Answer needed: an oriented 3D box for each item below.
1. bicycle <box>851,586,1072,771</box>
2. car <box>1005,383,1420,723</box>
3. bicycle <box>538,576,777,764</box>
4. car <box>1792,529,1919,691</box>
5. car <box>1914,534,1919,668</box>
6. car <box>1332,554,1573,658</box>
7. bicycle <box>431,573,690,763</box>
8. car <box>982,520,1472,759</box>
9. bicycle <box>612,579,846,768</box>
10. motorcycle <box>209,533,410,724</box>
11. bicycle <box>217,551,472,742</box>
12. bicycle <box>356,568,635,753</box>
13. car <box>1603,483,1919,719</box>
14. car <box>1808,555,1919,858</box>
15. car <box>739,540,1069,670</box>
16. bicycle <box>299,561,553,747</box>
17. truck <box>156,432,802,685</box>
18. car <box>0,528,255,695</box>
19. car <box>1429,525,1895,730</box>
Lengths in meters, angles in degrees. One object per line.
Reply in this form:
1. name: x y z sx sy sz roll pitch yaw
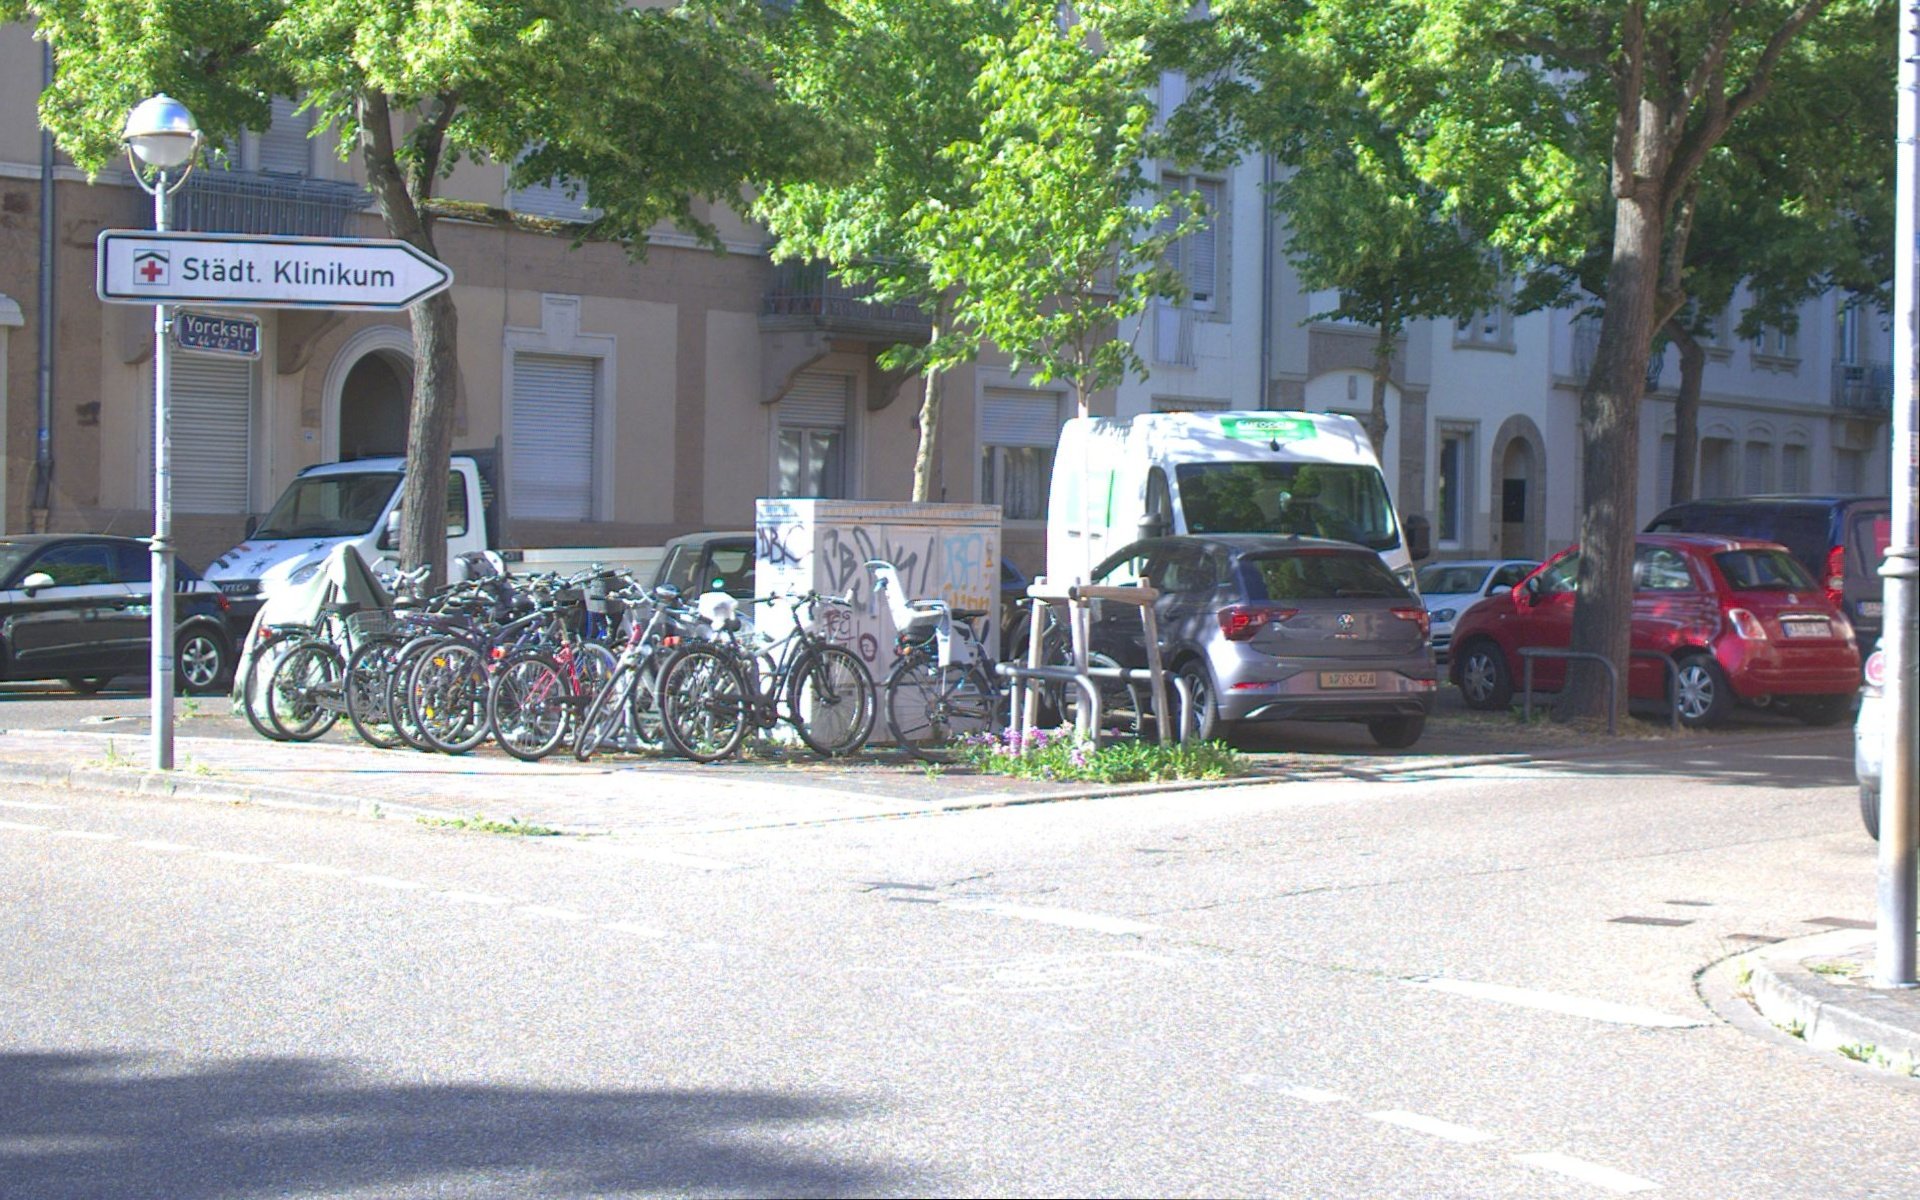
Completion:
1. bicycle: 0.020 0.473 21.434 0.419 1.082 1.523 4 3 43
2. car: 2.020 -0.486 30.010 2.096 2.591 6.379 2 2 -9
3. bicycle: -1.848 0.414 21.184 0.419 1.085 1.570 3 3 43
4. car: 9.703 0.103 33.641 1.682 1.465 3.385 2 2 -12
5. car: 11.432 0.086 35.376 1.682 1.465 3.385 2 2 -12
6. car: 6.896 0.059 47.874 1.686 1.385 3.914 0 1 36
7. bicycle: -2.461 0.402 21.307 0.500 1.098 1.646 3 3 43
8. car: 1.780 0.225 24.216 1.682 1.441 3.923 1 2 -25
9. bicycle: -1.399 0.429 20.980 0.419 1.082 1.523 4 3 43
10. motorcycle: -4.670 0.180 24.620 0.537 1.266 1.710 -1 3 -45
11. bicycle: -4.058 0.288 22.751 0.538 1.188 1.676 3 3 41
12. bicycle: -2.925 0.360 21.771 0.657 1.085 1.725 3 3 41
13. car: 7.193 -0.031 29.591 1.682 1.858 3.385 1 2 -21
14. car: 5.996 0.532 17.794 1.687 1.441 3.538 4 3 40
15. car: -0.582 0.034 38.656 1.686 1.385 3.914 0 1 36
16. bicycle: -3.444 0.329 22.260 0.589 1.123 1.598 3 3 41
17. truck: -4.614 -0.408 34.189 2.137 2.284 6.605 0 1 41
18. car: -8.139 0.081 29.638 1.686 1.385 3.914 0 1 36
19. car: 5.593 0.184 27.692 1.683 1.441 3.384 1 2 -36
